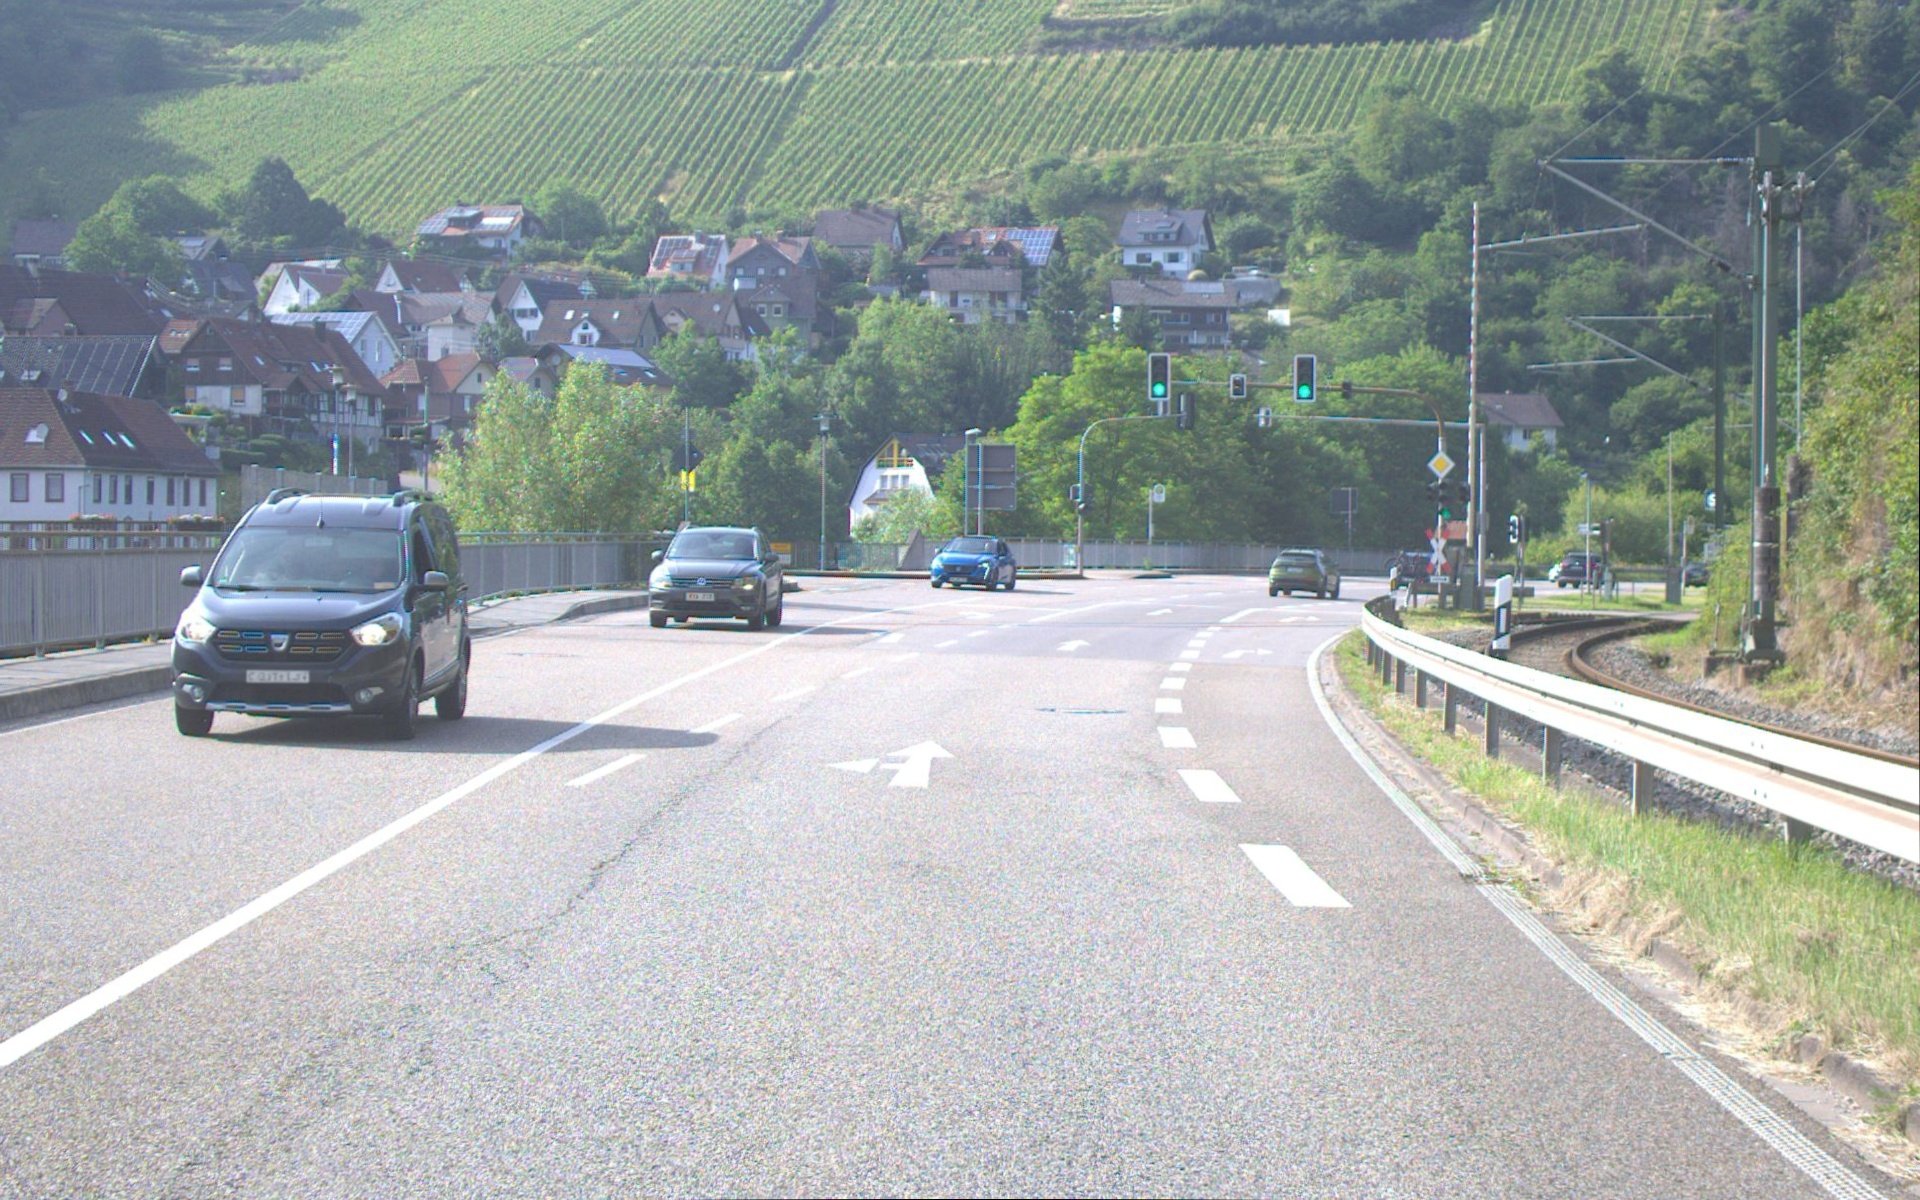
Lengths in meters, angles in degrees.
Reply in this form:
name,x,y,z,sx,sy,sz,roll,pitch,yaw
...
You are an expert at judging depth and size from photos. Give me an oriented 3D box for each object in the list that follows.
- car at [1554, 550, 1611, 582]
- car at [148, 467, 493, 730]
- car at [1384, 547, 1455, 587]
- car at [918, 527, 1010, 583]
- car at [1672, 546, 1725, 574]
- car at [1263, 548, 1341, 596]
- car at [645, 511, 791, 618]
name,x,y,z,sx,sy,sz,roll,pitch,yaw
car,28.349,-1.542,156.479,1.809,1.448,3.643,0,0,22
car,-4.814,-0.059,26.535,1.791,1.821,4.829,1,1,-1
car,17.019,-1.219,127.320,1.842,1.454,3.709,0,0,20
car,0.131,-1.270,96.584,1.783,1.477,4.524,2,1,10
car,38.361,-2.083,178.557,1.811,1.403,3.768,0,0,26
car,10.691,-0.860,107.313,1.730,1.452,3.407,0,0,19
car,-3.940,-0.602,56.638,1.817,1.641,4.612,1,1,3
